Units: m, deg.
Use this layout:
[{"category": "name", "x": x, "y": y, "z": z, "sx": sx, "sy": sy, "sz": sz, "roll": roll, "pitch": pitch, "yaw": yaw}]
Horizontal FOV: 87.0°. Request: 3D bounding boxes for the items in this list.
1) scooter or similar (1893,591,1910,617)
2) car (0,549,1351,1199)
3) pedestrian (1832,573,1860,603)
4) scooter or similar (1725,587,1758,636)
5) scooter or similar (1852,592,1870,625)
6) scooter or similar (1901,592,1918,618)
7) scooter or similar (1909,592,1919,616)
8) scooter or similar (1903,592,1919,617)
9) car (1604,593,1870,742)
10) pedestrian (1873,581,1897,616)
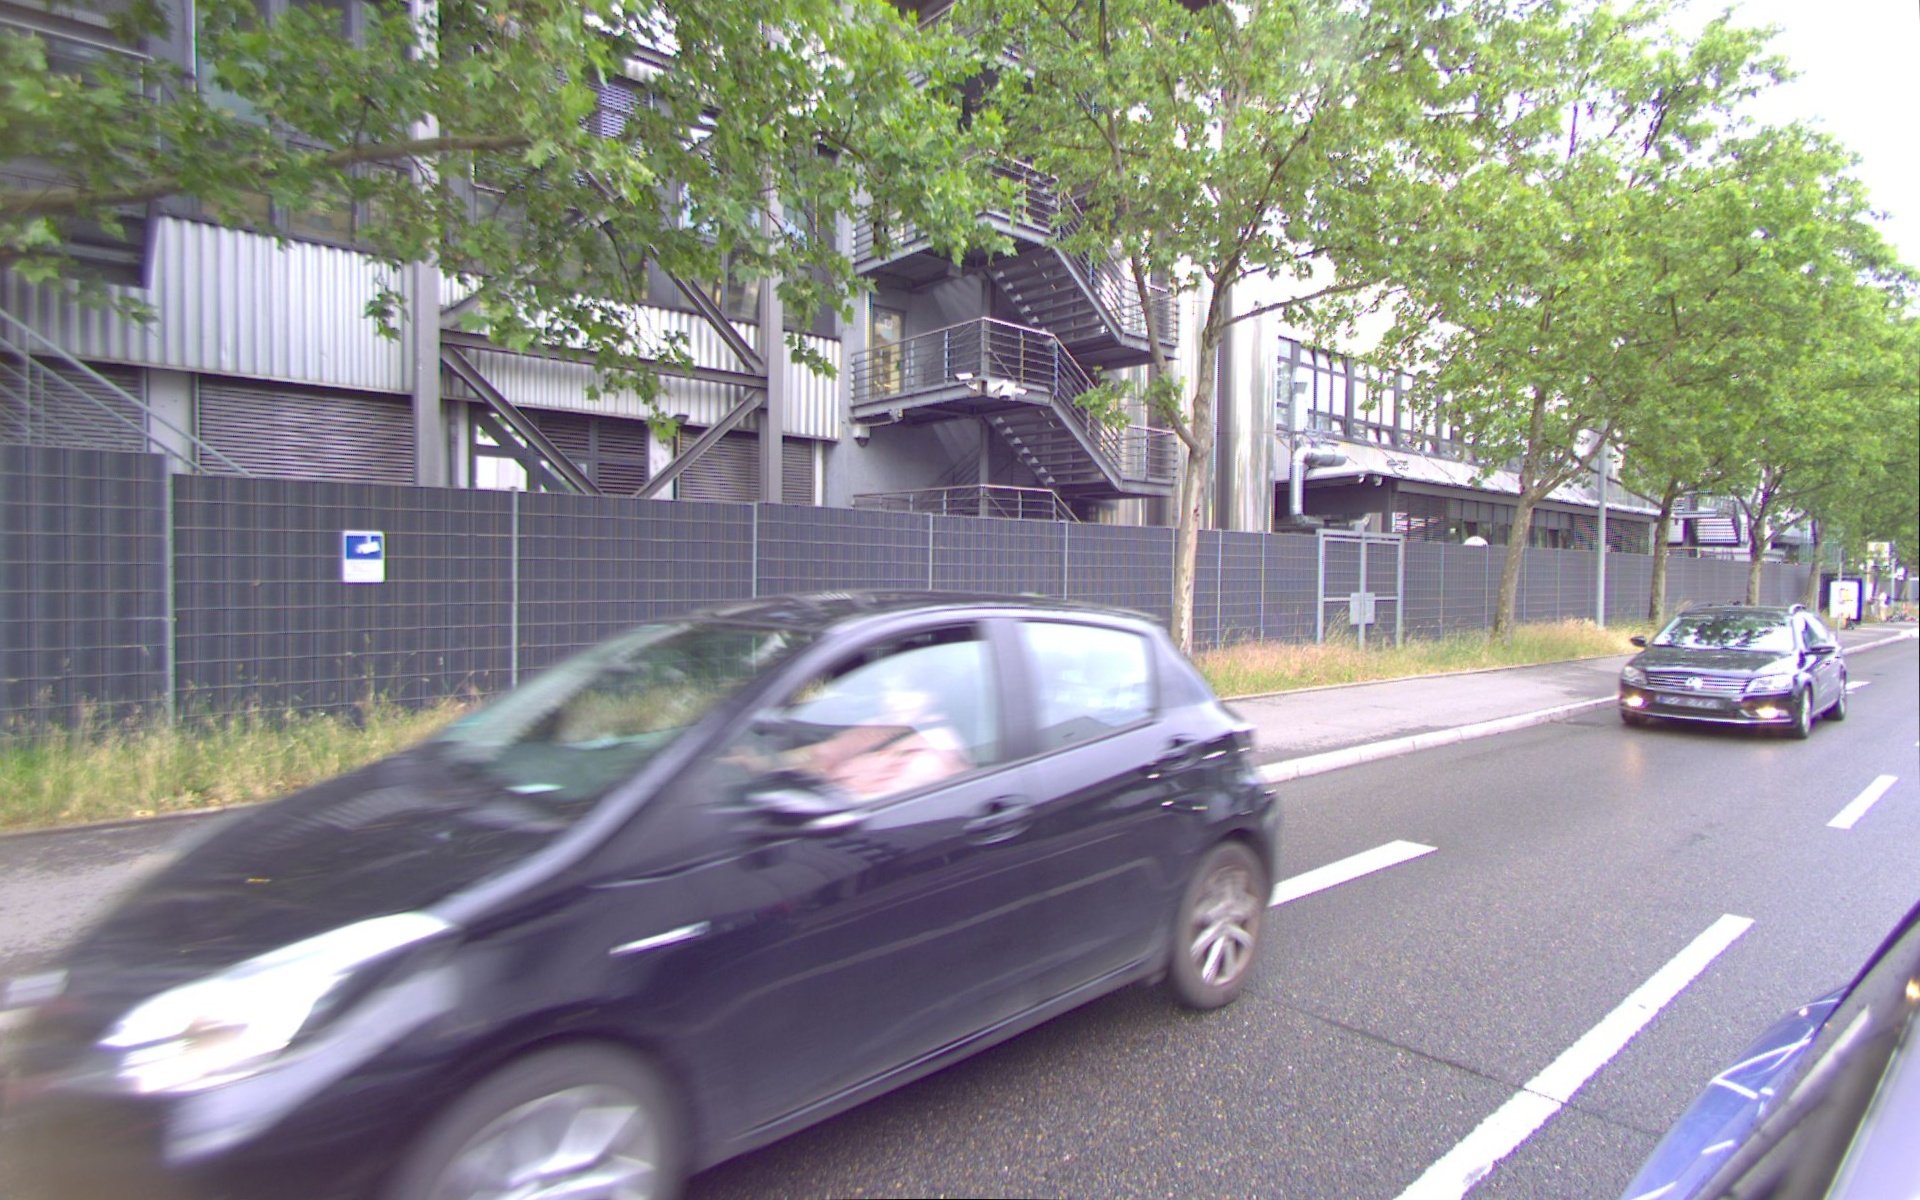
[{"category": "scooter or similar", "x": 48.417, "y": 0.215, "z": 52.029, "sx": 1.277, "sy": 1.311, "sz": 0.437, "roll": 0, "pitch": 1, "yaw": -39}, {"category": "car", "x": -0.565, "y": 0.659, "z": 3.207, "sx": 4.010, "sy": 1.512, "sz": 1.877, "roll": 0, "pitch": 3, "yaw": -45}, {"category": "pedestrian", "x": 42.938, "y": -0.585, "z": 49.066, "sx": 0.686, "sy": 1.433, "sz": 0.932, "roll": 0, "pitch": 2, "yaw": -42}, {"category": "scooter or similar", "x": 20.969, "y": 0.310, "z": 27.158, "sx": 1.087, "sy": 1.285, "sz": 0.330, "roll": 0, "pitch": 1, "yaw": -33}, {"category": "scooter or similar", "x": 37.342, "y": 0.346, "z": 41.937, "sx": 1.222, "sy": 1.325, "sz": 0.329, "roll": 0, "pitch": 1, "yaw": -37}, {"category": "scooter or similar", "x": 49.541, "y": 0.237, "z": 52.809, "sx": 1.277, "sy": 1.311, "sz": 0.437, "roll": 0, "pitch": 1, "yaw": -39}, {"category": "scooter or similar", "x": 52.544, "y": 0.212, "z": 55.488, "sx": 1.341, "sy": 1.311, "sz": 0.437, "roll": 0, "pitch": 1, "yaw": -34}, {"category": "scooter or similar", "x": 51.035, "y": 0.223, "z": 54.280, "sx": 1.277, "sy": 1.311, "sz": 0.437, "roll": 0, "pitch": 1, "yaw": -39}, {"category": "car", "x": 9.587, "y": 0.652, "z": 12.330, "sx": 4.705, "sy": 1.471, "sz": 1.840, "roll": 0, "pitch": 0, "yaw": -43}, {"category": "pedestrian", "x": 46.469, "y": -0.079, "z": 50.841, "sx": 0.717, "sy": 1.731, "sz": 0.777, "roll": 0, "pitch": 1, "yaw": -42}]
